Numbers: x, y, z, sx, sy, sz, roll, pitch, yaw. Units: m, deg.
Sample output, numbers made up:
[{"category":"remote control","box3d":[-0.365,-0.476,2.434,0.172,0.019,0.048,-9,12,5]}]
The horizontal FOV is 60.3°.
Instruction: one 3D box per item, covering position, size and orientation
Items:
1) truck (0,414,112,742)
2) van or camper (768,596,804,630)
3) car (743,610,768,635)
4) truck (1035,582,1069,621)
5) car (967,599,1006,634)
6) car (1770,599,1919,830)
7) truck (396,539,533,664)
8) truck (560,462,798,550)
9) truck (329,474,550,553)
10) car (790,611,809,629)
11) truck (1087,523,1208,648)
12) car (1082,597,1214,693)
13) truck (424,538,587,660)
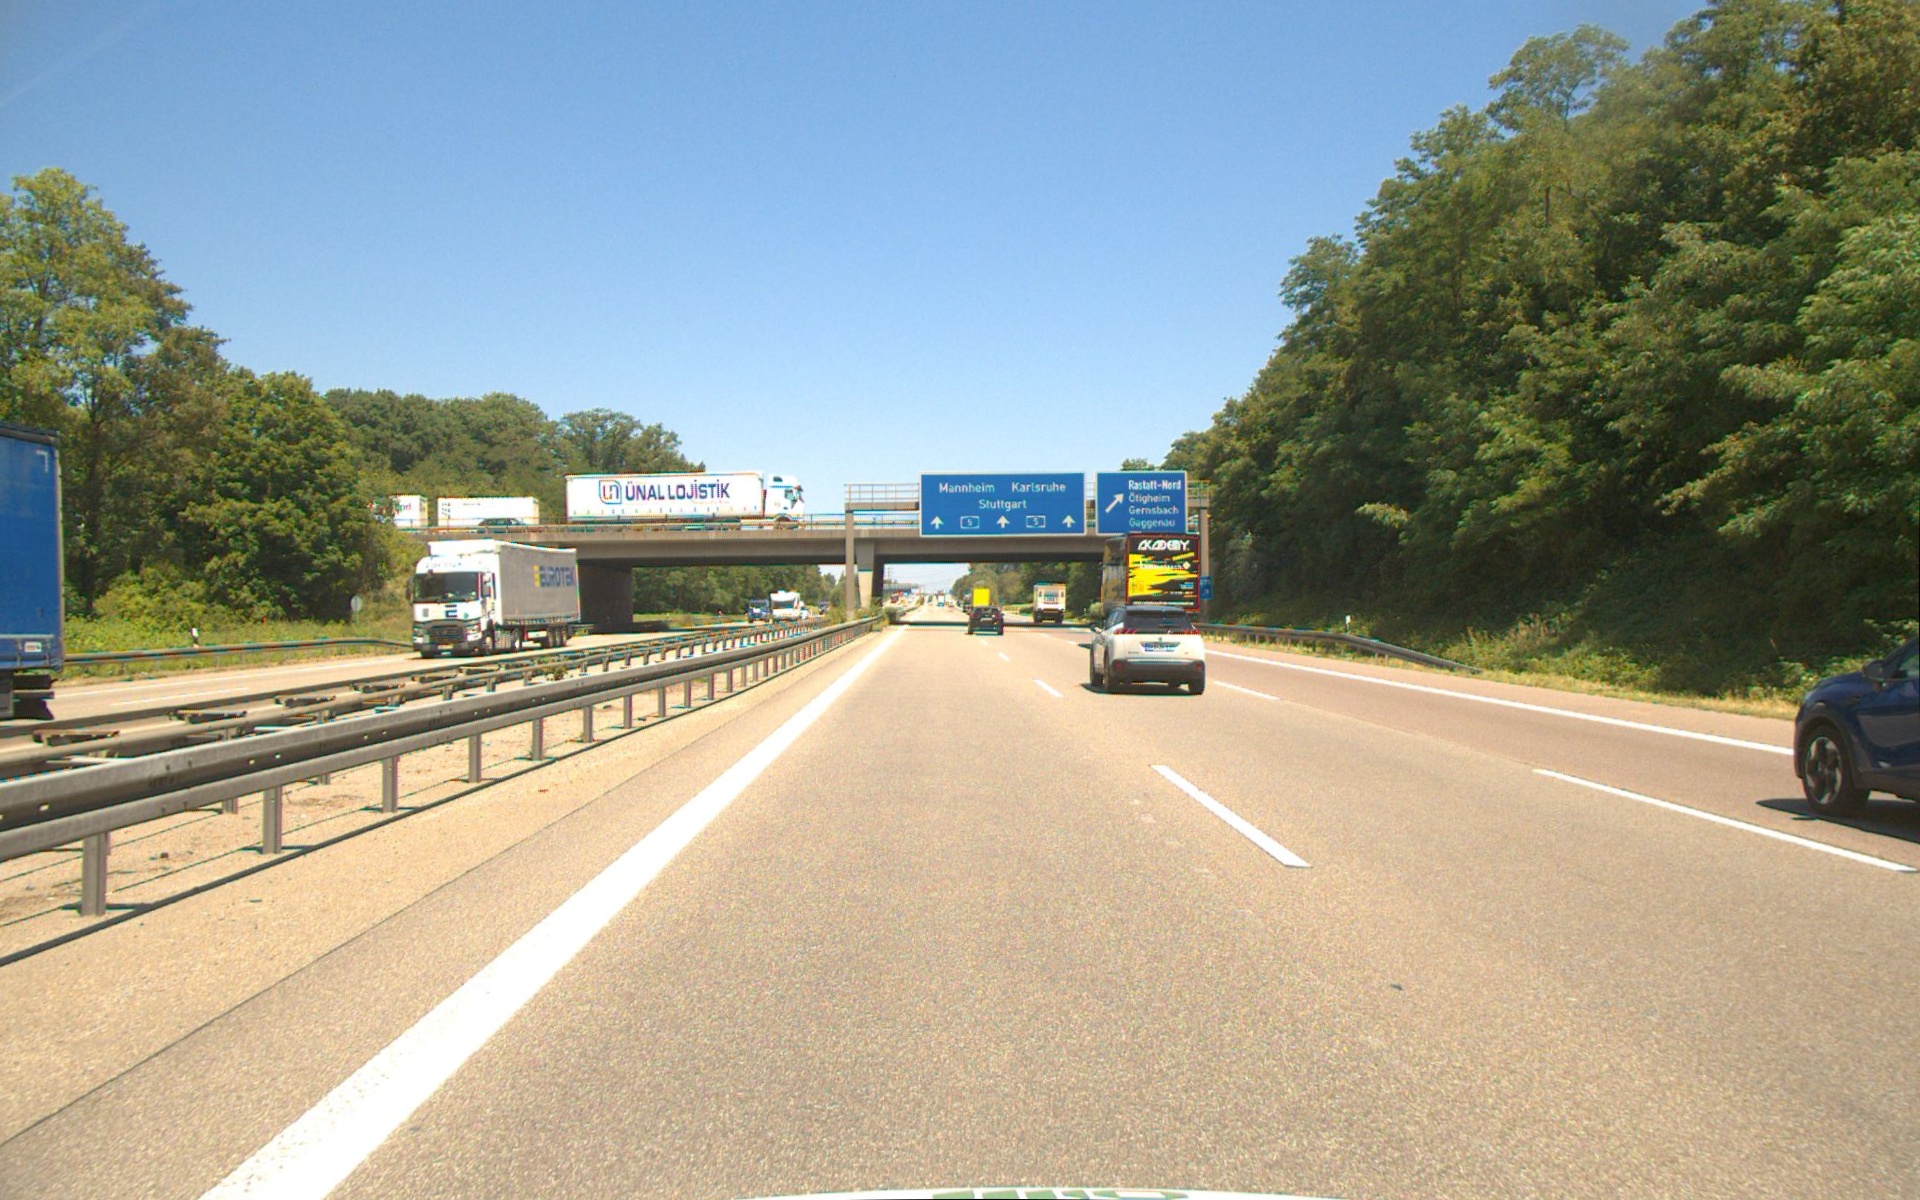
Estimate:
[{"category":"truck","box3d":[-13.353,-0.324,16.347,2.926,4.089,13.933,1,0,-1]},{"category":"van or camper","box3d":[-15.675,1.141,149.398,2.540,2.957,7.232,1,0,-1]},{"category":"car","box3d":[-21.156,2.318,171.198,2.047,2.441,5.731,1,0,-2]},{"category":"truck","box3d":[8.386,0.151,150.652,2.965,3.377,10.774,1,0,3]},{"category":"car","box3d":[1.309,0.830,83.985,1.790,1.736,3.999,1,0,-1]},{"category":"car","box3d":[7.521,0.800,11.322,1.832,1.583,4.200,1,0,-1]},{"category":"truck","box3d":[-17.873,0.077,60.101,2.909,4.133,6.457,-3,0,-1]},{"category":"truck","box3d":[-19.536,-6.544,116.038,16.143,5.663,3.171,1,-1,-6]},{"category":"truck","box3d":[-40.905,-6.766,130.529,16.154,5.663,3.169,1,-1,-9]},{"category":"car","box3d":[-16.730,2.093,172.155,1.657,1.847,4.712,1,0,-2]},{"category":"truck","box3d":[6.729,-0.460,61.096,2.915,4.107,10.978,2,0,-1]},{"category":"car","box3d":[3.386,0.787,30.623,1.790,1.636,4.807,0,0,-1]},{"category":"truck","box3d":[-18.138,0.006,67.290,3.004,4.325,13.955,-3,0,-2]}]
